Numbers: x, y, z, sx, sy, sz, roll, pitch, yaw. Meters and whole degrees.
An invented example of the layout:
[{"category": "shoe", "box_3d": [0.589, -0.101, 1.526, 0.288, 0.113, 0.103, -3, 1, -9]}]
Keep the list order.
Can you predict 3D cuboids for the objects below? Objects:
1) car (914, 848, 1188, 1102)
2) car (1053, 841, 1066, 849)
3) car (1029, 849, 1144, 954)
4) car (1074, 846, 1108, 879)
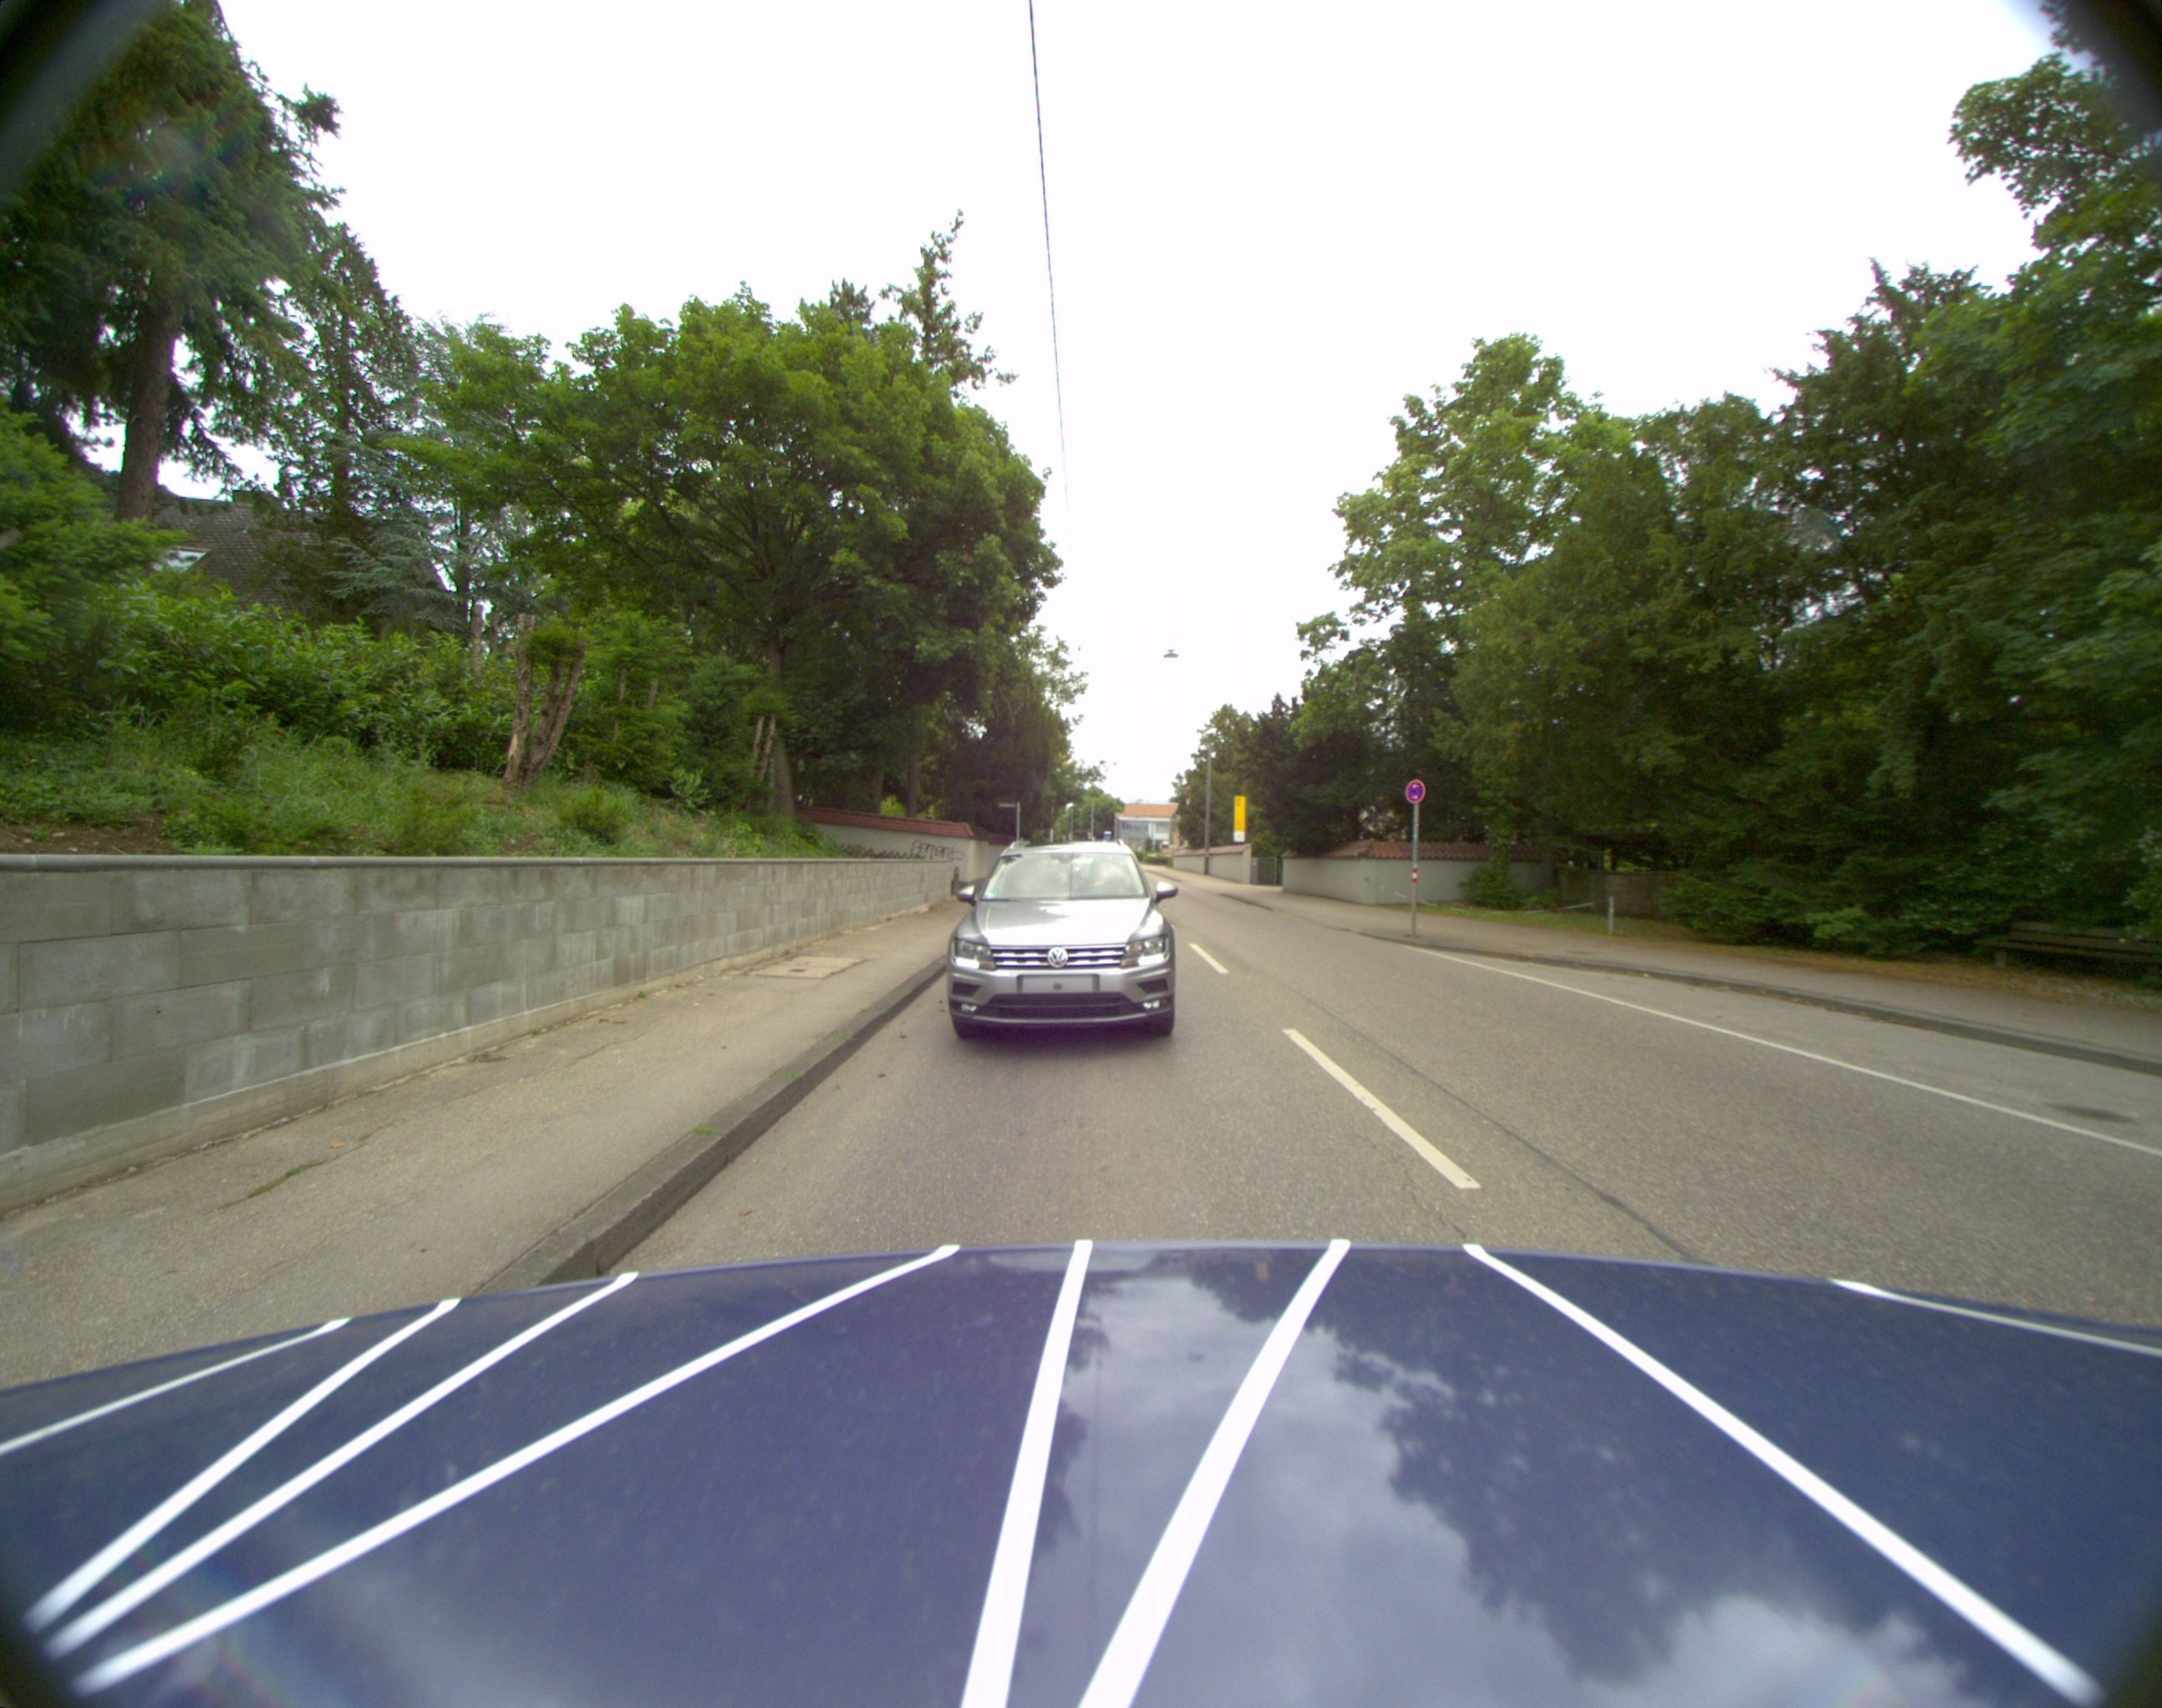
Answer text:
[{"category": "car", "box_3d": [-0.189, 0.807, 7.504, 1.820, 1.690, 4.718, -1, 0, 0]}, {"category": "car", "box_3d": [-4.360, -1.799, 153.007, 1.879, 1.647, 4.249, 0, 1, -14]}, {"category": "car", "box_3d": [0.105, 0.732, 14.280, 1.820, 1.647, 4.487, 0, 1, 0]}, {"category": "car", "box_3d": [0.545, 0.432, 43.190, 1.820, 1.733, 4.487, 0, 1, 0]}]
